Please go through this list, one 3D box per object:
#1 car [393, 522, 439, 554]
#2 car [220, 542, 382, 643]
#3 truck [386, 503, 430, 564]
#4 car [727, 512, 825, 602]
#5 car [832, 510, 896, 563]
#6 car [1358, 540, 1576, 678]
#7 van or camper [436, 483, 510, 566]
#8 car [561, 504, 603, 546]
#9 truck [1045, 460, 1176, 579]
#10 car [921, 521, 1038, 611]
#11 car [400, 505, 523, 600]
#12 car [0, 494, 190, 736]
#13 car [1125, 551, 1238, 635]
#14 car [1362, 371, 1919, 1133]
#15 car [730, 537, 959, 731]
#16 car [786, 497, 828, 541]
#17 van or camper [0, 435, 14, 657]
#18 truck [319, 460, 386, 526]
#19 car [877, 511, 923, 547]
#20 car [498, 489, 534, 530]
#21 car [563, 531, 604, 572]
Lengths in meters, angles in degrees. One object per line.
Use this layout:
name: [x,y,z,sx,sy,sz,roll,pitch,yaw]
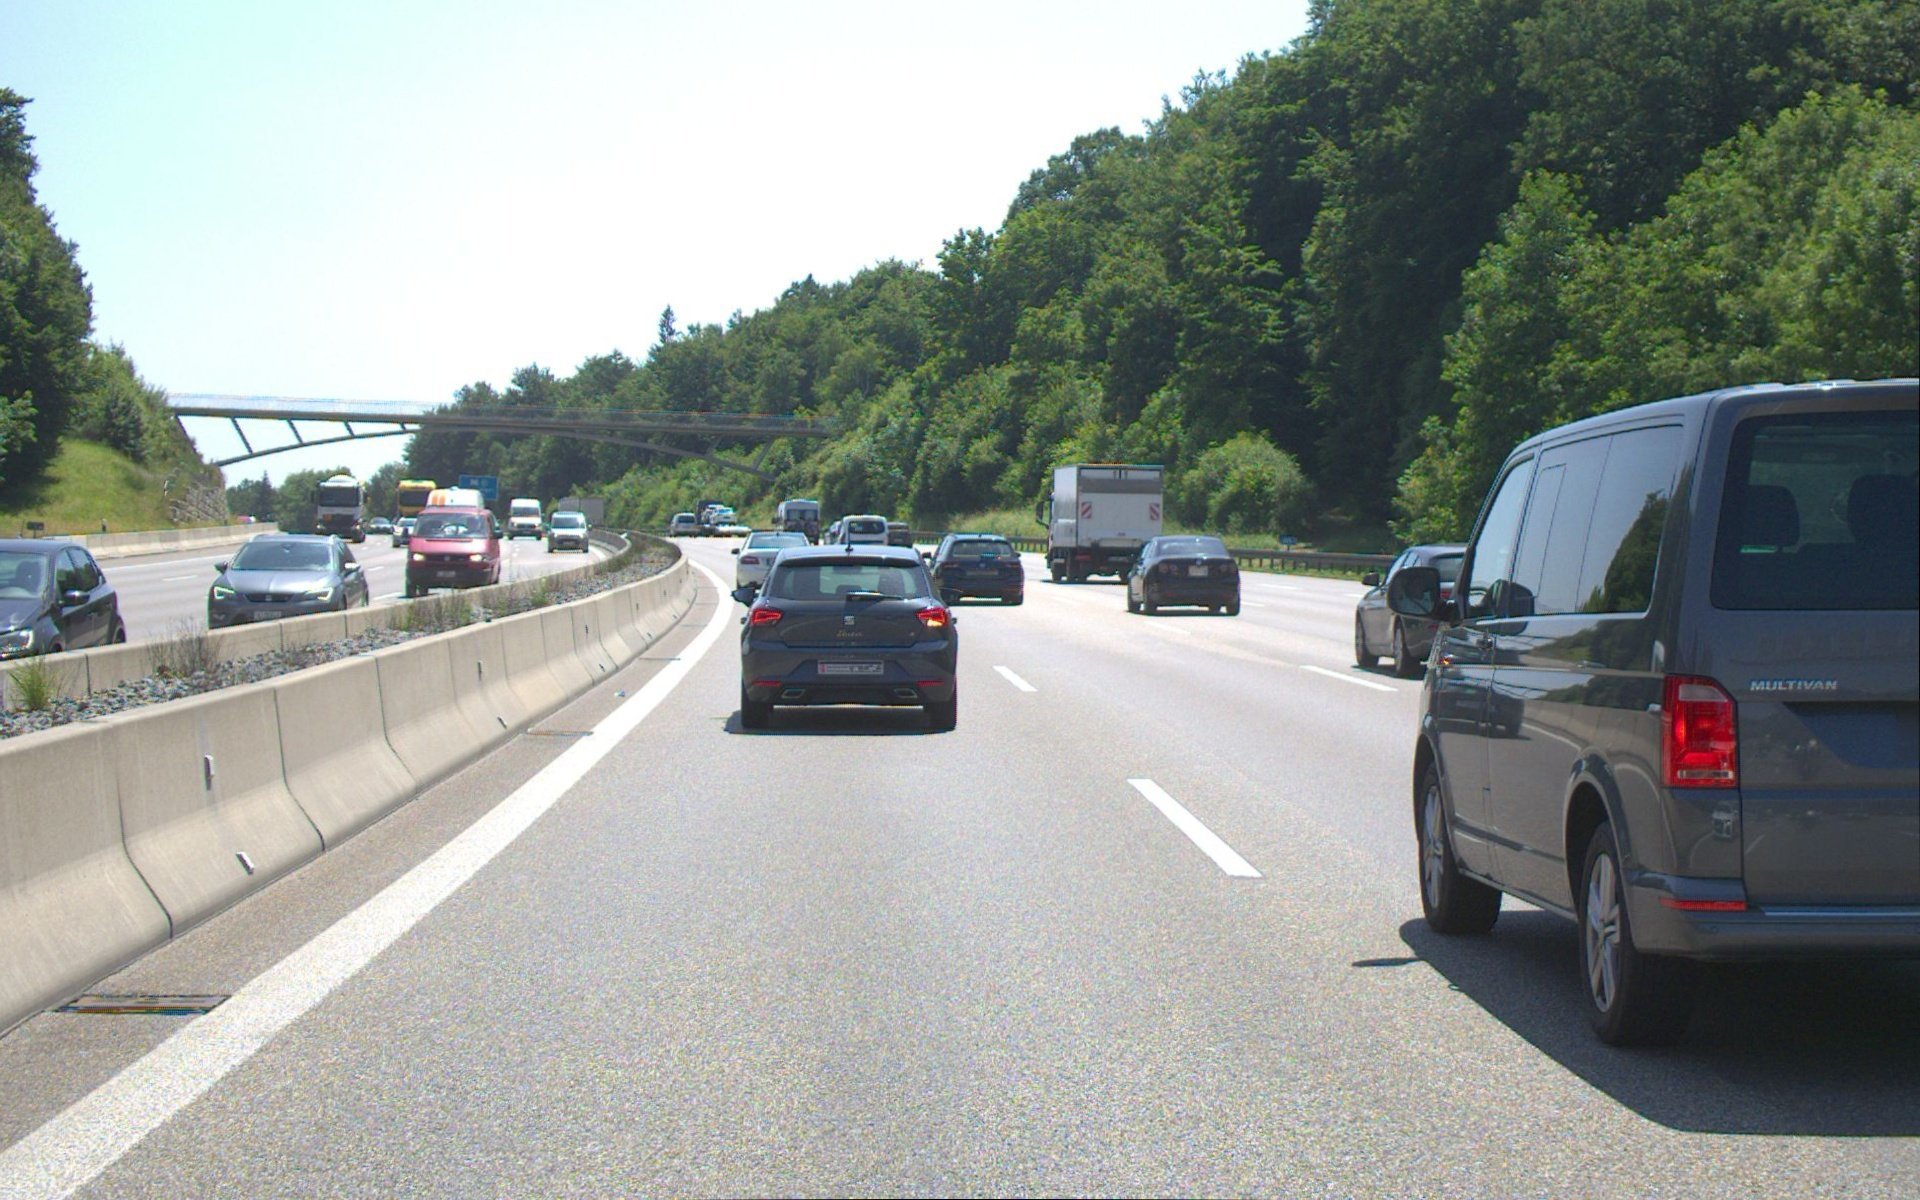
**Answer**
car: [-26.764,-3.053,169.250,1.763,1.477,4.495,2,1,-3]
car: [-9.321,-0.129,48.871,1.640,1.345,4.000,2,1,-2]
truck: [-36.586,-4.397,227.974,2.530,3.926,6.803,0,1,-6]
car: [-4.138,-0.950,77.864,2.012,1.839,4.000,1,-2,-1]
car: [-3.287,-2.181,117.139,2.103,1.738,4.688,1,2,-2]
car: [5.509,0.056,37.800,1.702,1.391,4.154,0,1,-1]
van or camper: [-17.005,-2.619,120.248,1.993,2.790,7.416,0,1,-4]
car: [-17.104,-3.391,155.539,1.818,1.865,4.590,0,1,-5]
truck: [4.115,-2.258,95.634,2.985,3.156,7.576,1,2,-2]
car: [0.370,-0.661,70.371,1.993,1.722,4.149,0,-1,-5]
car: [-10.809,-1.038,74.834,2.236,2.007,4.230,0,1,-3]
car: [-8.099,0.118,30.266,1.769,1.938,5.087,2,0,-4]
car: [4.044,-0.156,63.507,1.665,1.403,4.904,1,2,-1]
car: [2.740,0.371,11.711,1.962,2.026,5.084,0,1,-2]
car: [-0.914,0.222,28.000,1.708,1.428,4.000,1,1,-1]
car: [-8.470,-4.452,189.796,2.265,2.363,4.702,0,1,-3]
van or camper: [-11.948,-0.590,37.070,2.099,2.557,6.401,0,1,-4]
truck: [-33.219,-5.824,188.360,2.609,3.454,9.884,2,1,-5]
car: [-3.253,-3.809,185.535,2.145,1.851,4.001,1,0,-5]
car: [-27.640,-5.616,214.015,2.154,2.481,4.703,0,1,-7]
car: [-19.786,-2.519,180.770,1.993,2.007,4.000,2,-1,-4]
